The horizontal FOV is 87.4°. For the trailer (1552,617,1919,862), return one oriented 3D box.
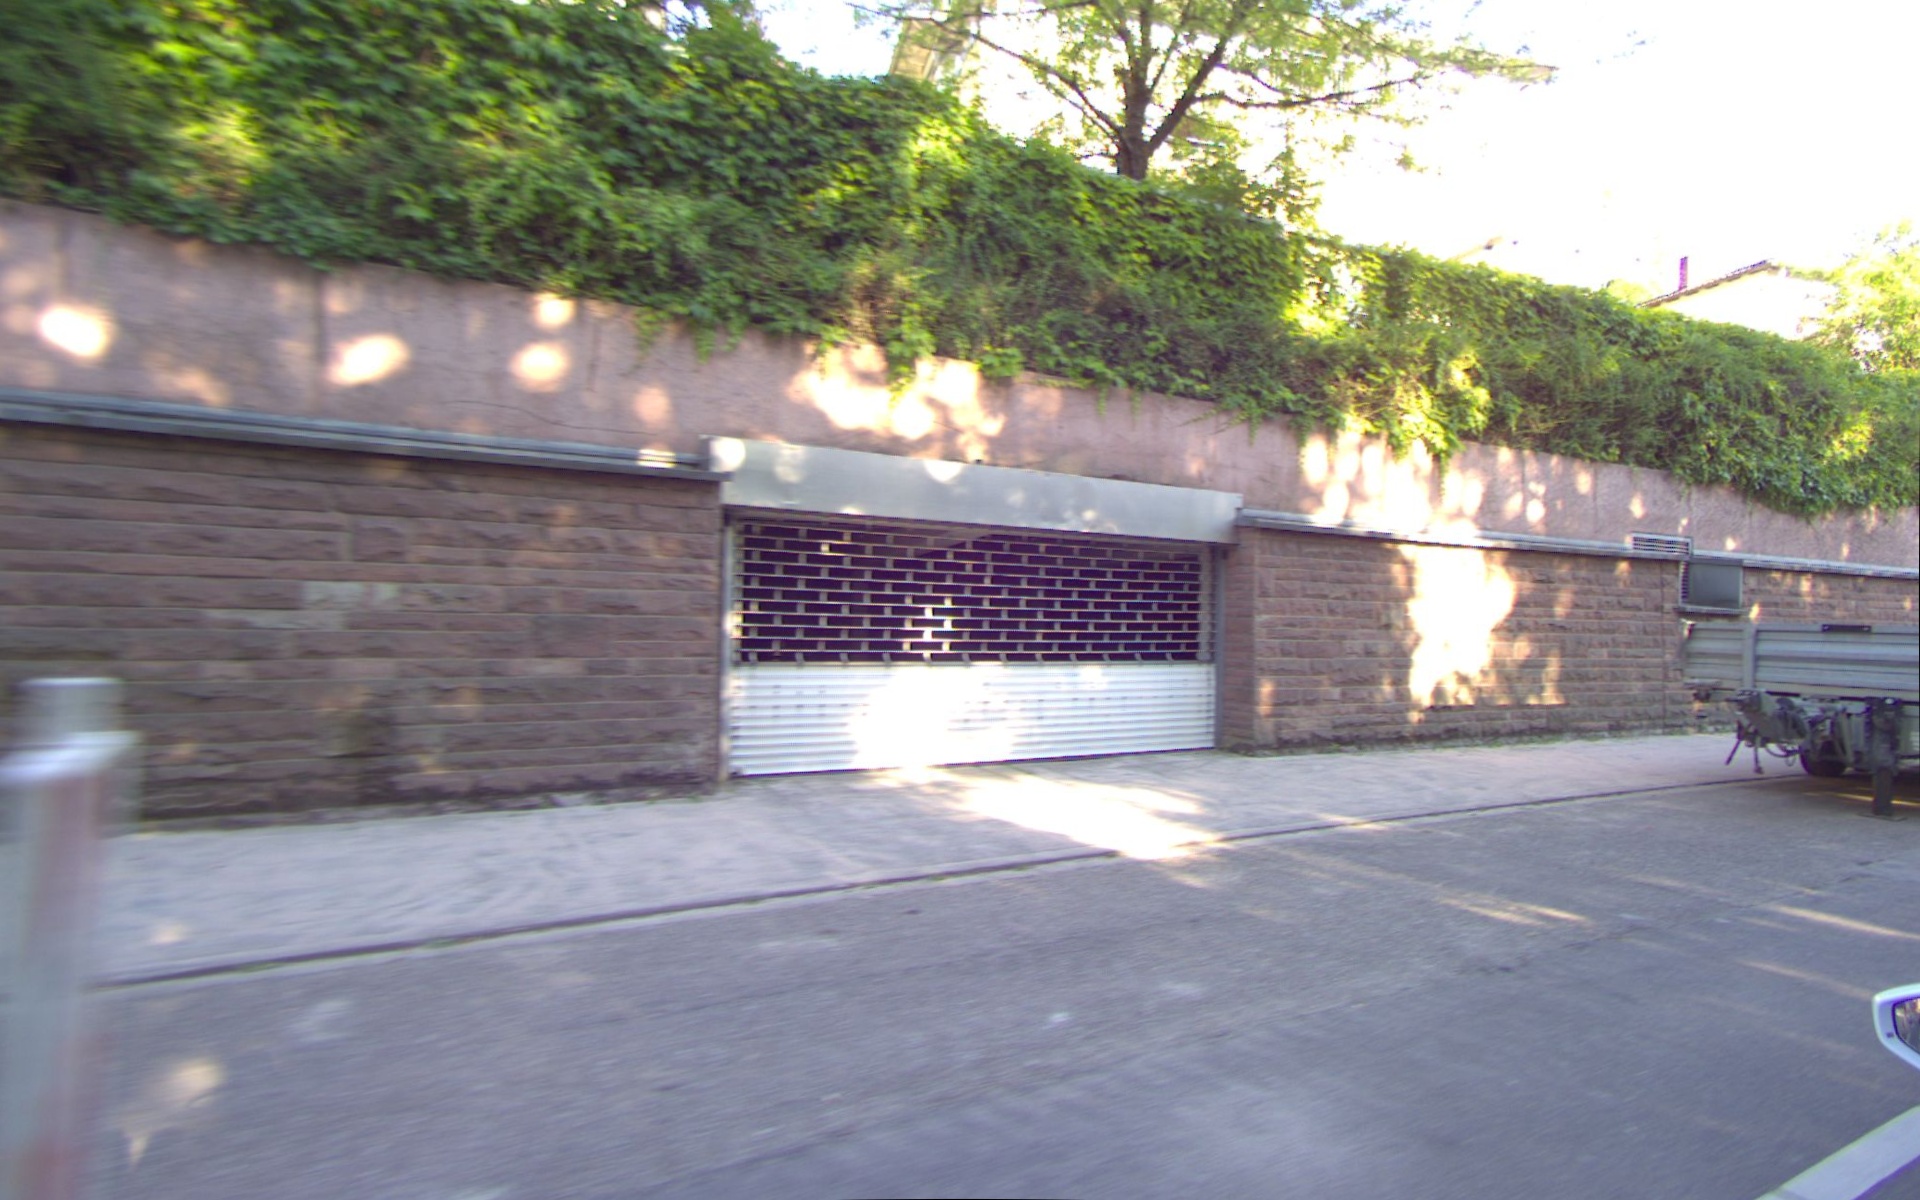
[{"bbox_3d":[8.787,1.014,9.057,7.028,1.509,2.630,2,0,-28],"label":"trailer"}]
